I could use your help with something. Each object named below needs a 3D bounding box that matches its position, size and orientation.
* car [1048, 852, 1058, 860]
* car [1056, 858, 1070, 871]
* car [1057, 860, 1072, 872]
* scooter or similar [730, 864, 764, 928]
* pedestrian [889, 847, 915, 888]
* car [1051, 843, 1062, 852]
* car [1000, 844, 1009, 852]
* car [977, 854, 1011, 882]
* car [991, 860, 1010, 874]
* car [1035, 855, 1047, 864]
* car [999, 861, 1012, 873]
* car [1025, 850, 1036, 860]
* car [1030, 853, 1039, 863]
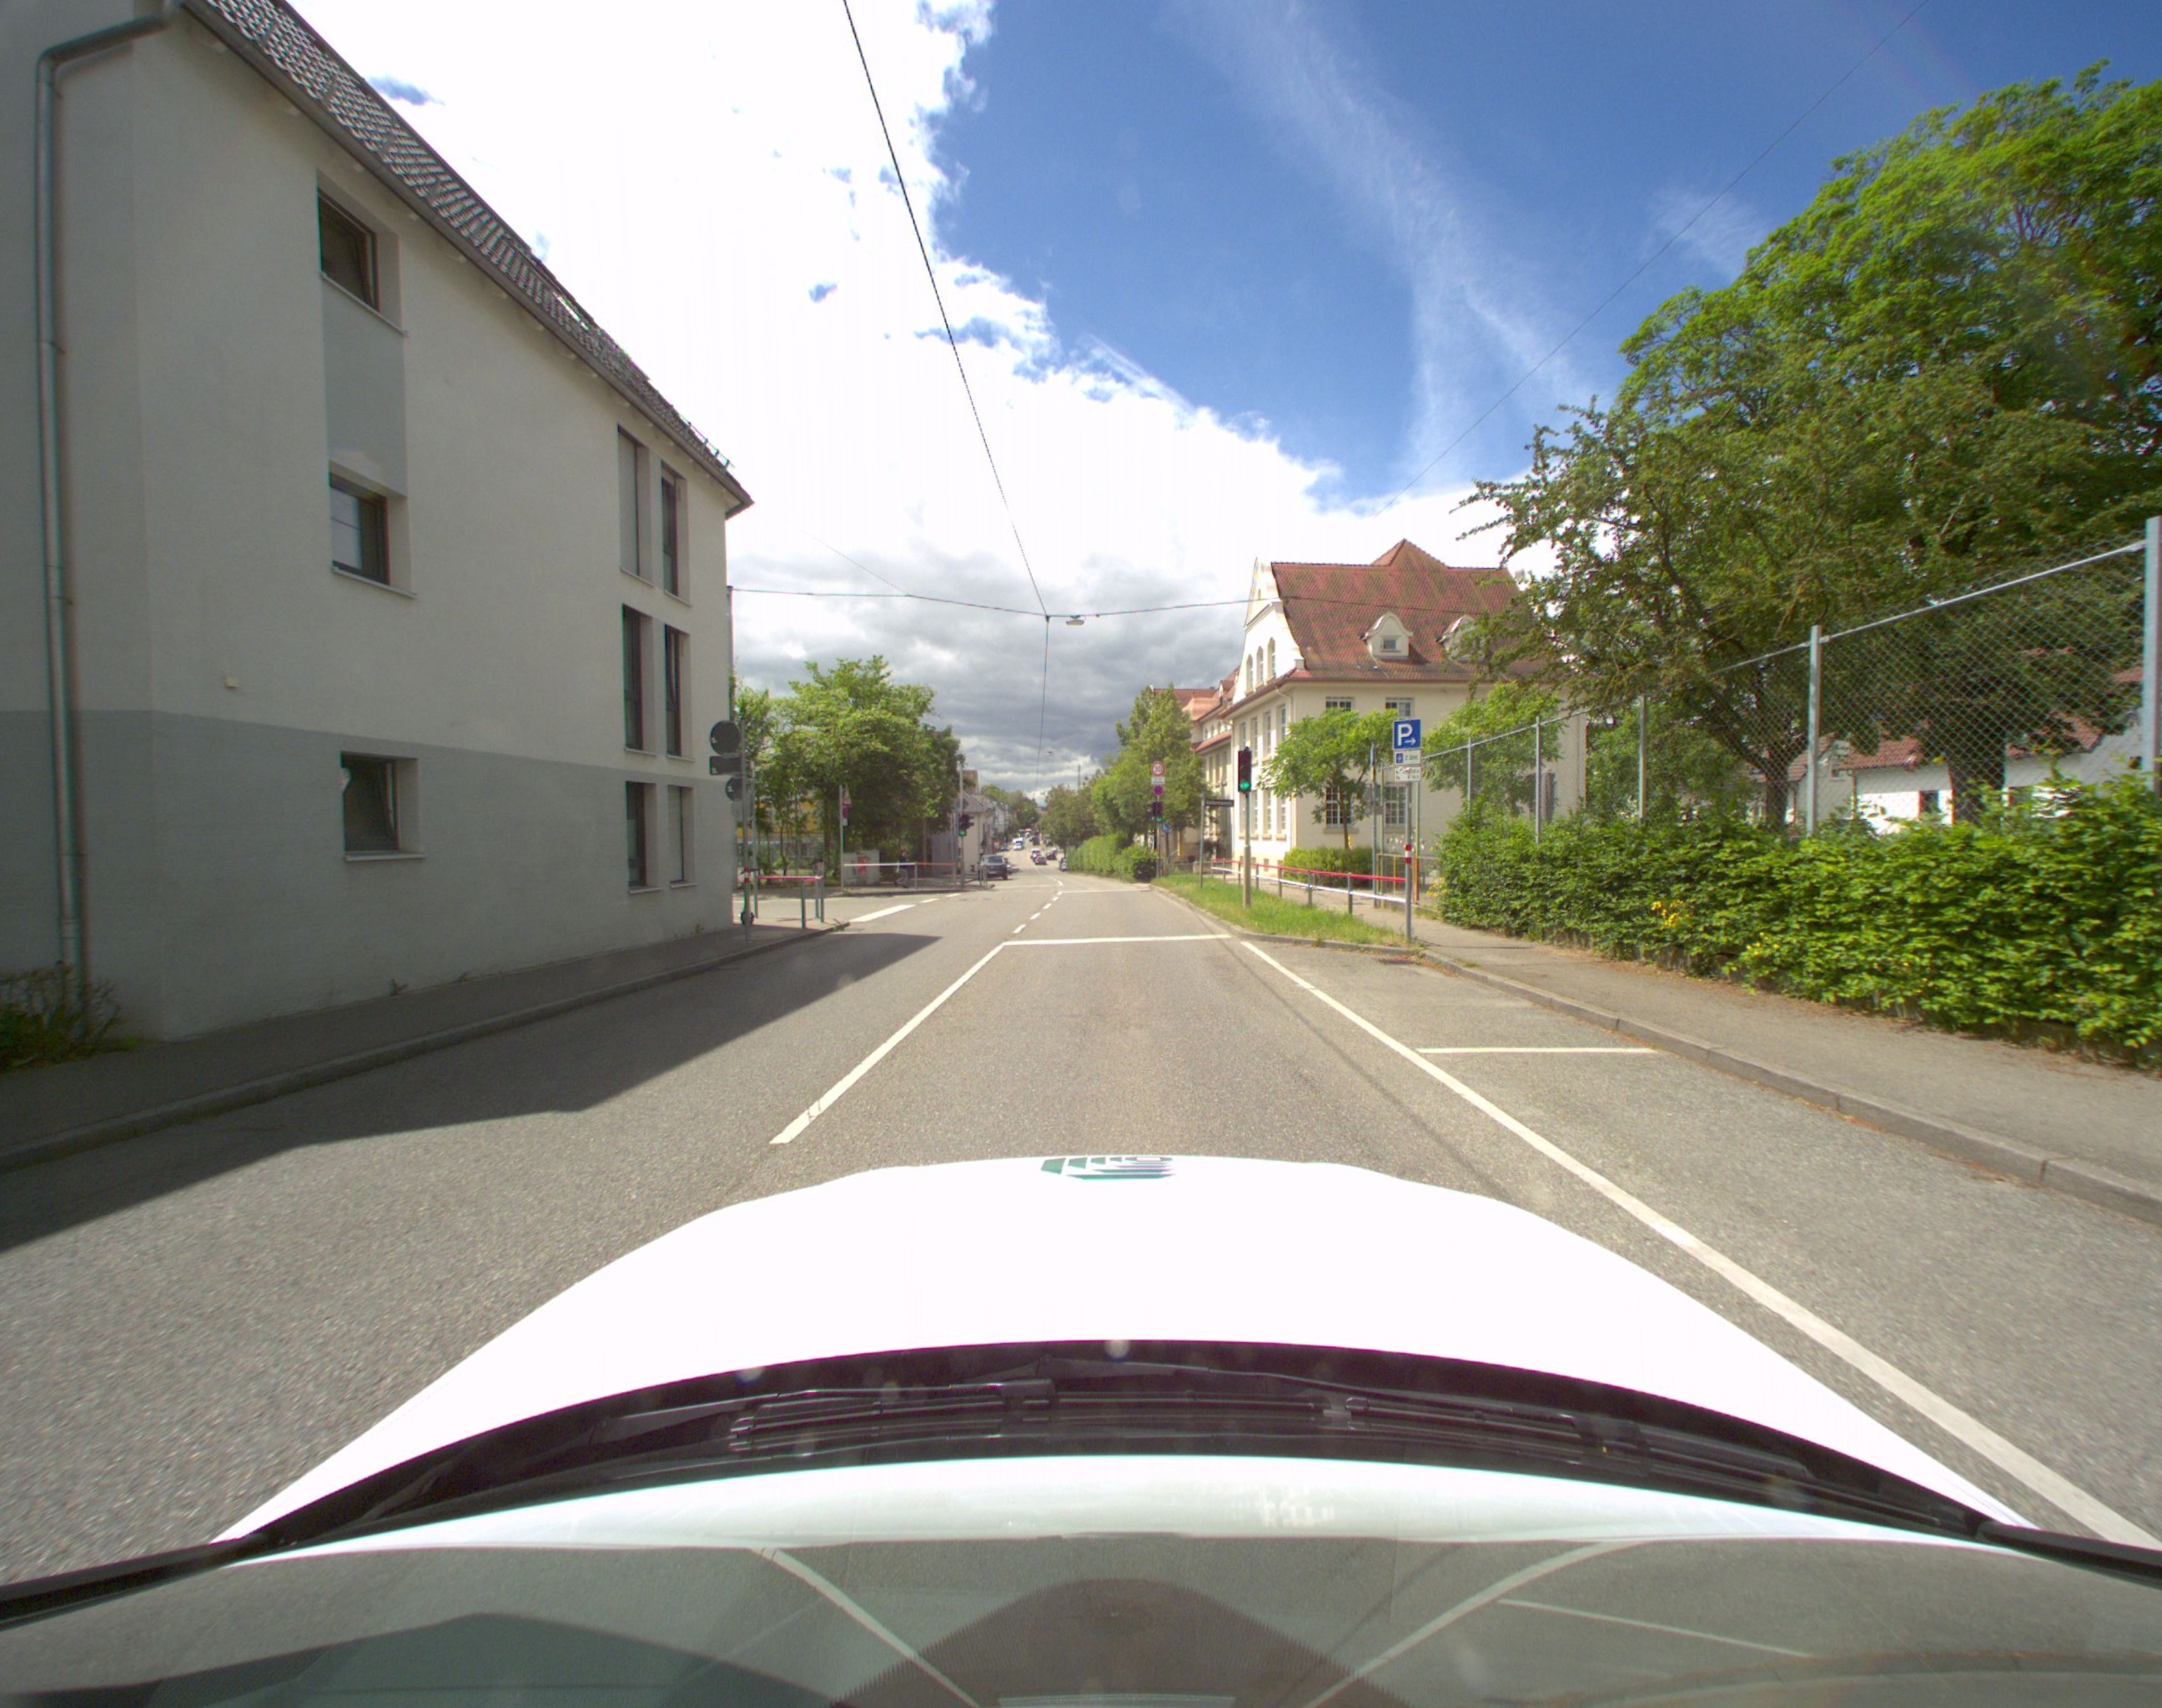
[{"bbox_3d":[-5.301,0.411,154.498,1.749,1.371,3.994,-1,-2,-3],"label":"car"},{"bbox_3d":[-2.525,1.508,114.144,1.841,1.768,4.508,0,0,-4],"label":"car"},{"bbox_3d":[-2.214,1.551,108.158,1.783,1.509,4.358,0,0,-4],"label":"car"},{"bbox_3d":[-6.966,0.852,16.958,0.492,1.261,1.295,-1,0,-29],"label":"scooter or similar"},{"bbox_3d":[-7.006,0.525,31.842,0.777,1.597,0.664,0,0,-40],"label":"pedestrian"},{"bbox_3d":[-5.308,-1.362,176.688,1.986,2.013,4.002,0,0,2],"label":"car"},{"bbox_3d":[-18.217,-1.419,193.482,1.868,1.640,3.997,1,0,-2],"label":"car"},{"bbox_3d":[-5.430,0.830,51.321,1.791,1.610,4.642,-1,0,-2],"label":"car"},{"bbox_3d":[-8.369,1.350,84.737,1.697,1.390,3.854,0,1,-9],"label":"car"},{"bbox_3d":[-6.813,0.971,138.499,1.743,1.417,3.990,-1,0,-7],"label":"car"},{"bbox_3d":[-9.486,1.620,102.453,1.644,1.419,3.693,0,0,-4],"label":"car"},{"bbox_3d":[-9.804,0.189,157.581,1.837,1.862,3.837,0,0,-10],"label":"car"},{"bbox_3d":[-8.518,0.741,148.360,1.274,1.527,3.041,-1,3,-10],"label":"car"}]
